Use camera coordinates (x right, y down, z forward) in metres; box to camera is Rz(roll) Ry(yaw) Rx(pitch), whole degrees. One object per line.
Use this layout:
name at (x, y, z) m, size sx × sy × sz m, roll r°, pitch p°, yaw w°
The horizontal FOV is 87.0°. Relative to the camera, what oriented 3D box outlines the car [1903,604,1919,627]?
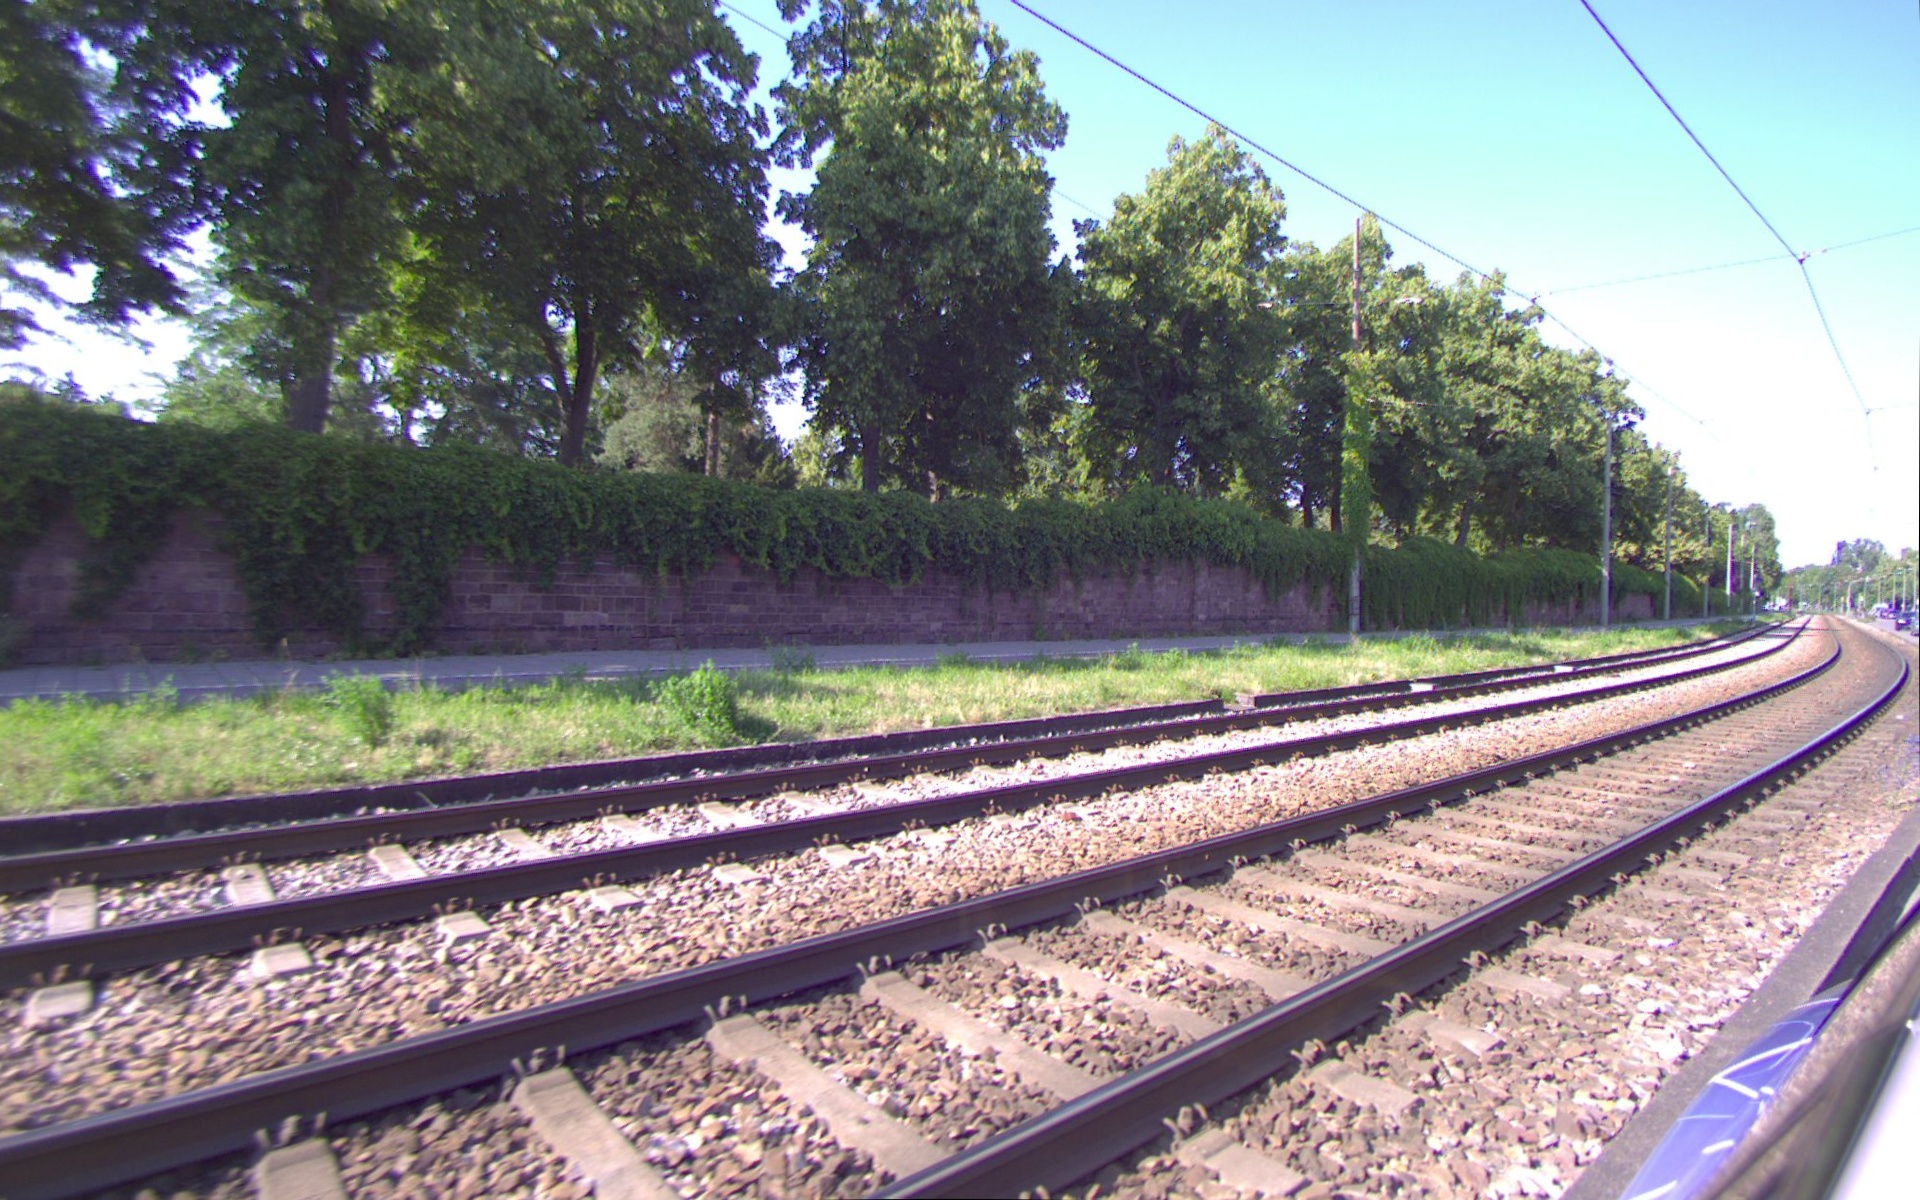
car at (69.132, 1.117, 72.653) m, size 1.702 × 1.610 × 3.945 m, roll 0°, pitch 0°, yaw 38°
